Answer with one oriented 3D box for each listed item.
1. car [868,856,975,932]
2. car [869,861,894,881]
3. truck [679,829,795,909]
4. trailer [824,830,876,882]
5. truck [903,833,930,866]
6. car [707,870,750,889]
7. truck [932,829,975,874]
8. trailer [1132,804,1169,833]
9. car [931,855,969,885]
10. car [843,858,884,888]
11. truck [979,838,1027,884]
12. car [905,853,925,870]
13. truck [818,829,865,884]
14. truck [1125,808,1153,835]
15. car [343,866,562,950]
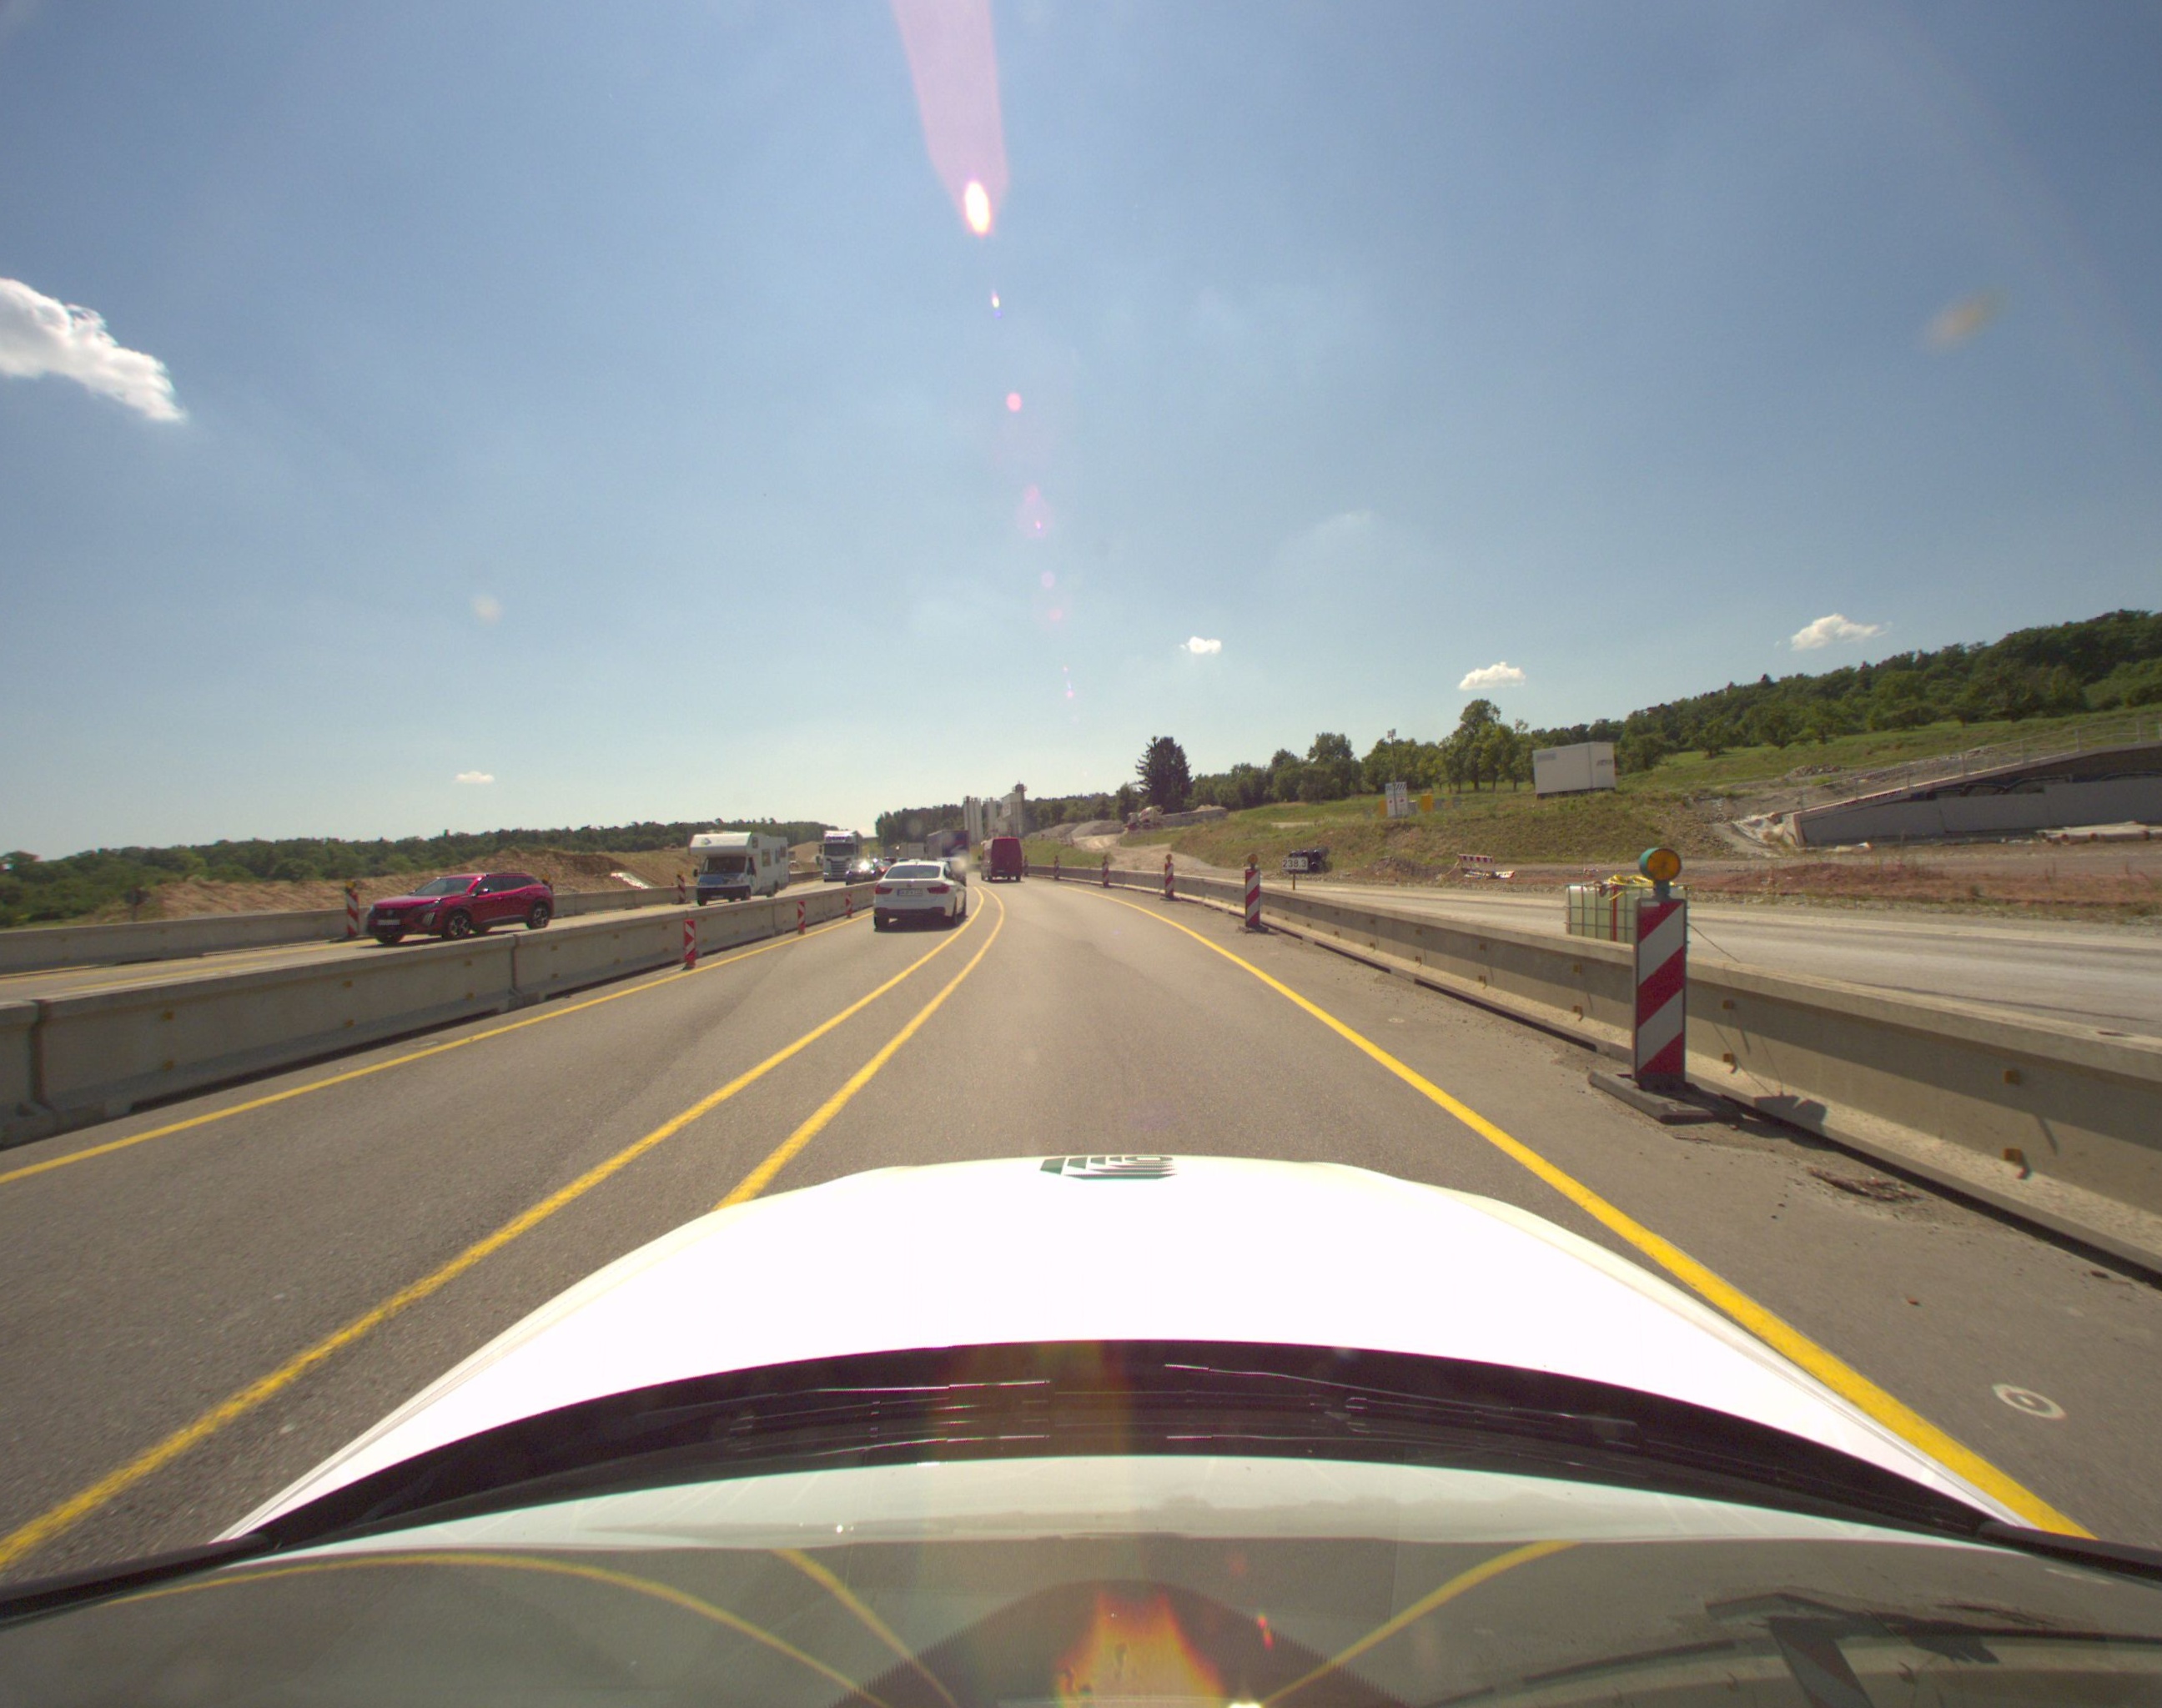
[{"bbox_3d":[-3.747,0.864,20.028,1.790,1.534,5.069,-1,0,-2],"label":"car"},{"bbox_3d":[-16.344,1.364,66.867,1.668,1.475,3.957,-3,0,-9],"label":"car"},{"bbox_3d":[-14.957,0.594,36.030,2.438,3.071,7.234,-3,0,-5],"label":"truck"},{"bbox_3d":[-20.378,0.184,72.599,2.760,4.114,13.930,-3,0,-10],"label":"trailer"},{"bbox_3d":[-25.077,-0.604,123.800,3.687,4.691,9.712,-3,0,-12],"label":"truck"},{"bbox_3d":[-32.205,2.339,74.499,3.220,1.455,1.529,-3,0,-43],"label":"car"},{"bbox_3d":[-12.866,-0.188,81.442,3.022,4.152,8.226,-3,0,-16],"label":"truck"},{"bbox_3d":[11.094,-5.677,130.837,2.770,4.114,6.688,-3,0,-26],"label":"trailer"},{"bbox_3d":[-7.261,0.860,45.485,1.793,1.534,3.922,-3,0,-6],"label":"car"},{"bbox_3d":[-13.407,1.133,50.440,1.657,1.605,4.388,-3,0,-5],"label":"car"},{"bbox_3d":[-4.979,0.425,51.159,2.114,2.633,6.457,-3,0,-12],"label":"truck"},{"bbox_3d":[-17.211,0.776,84.407,1.804,1.579,3.981,-3,0,-14],"label":"car"},{"bbox_3d":[-19.181,0.179,65.500,2.701,4.061,5.484,-3,0,-9],"label":"truck"},{"bbox_3d":[9.562,-5.282,134.096,2.759,4.095,4.065,-3,0,-26],"label":"truck"},{"bbox_3d":[-14.974,1.201,19.773,1.713,1.627,4.340,-3,0,3],"label":"car"}]
